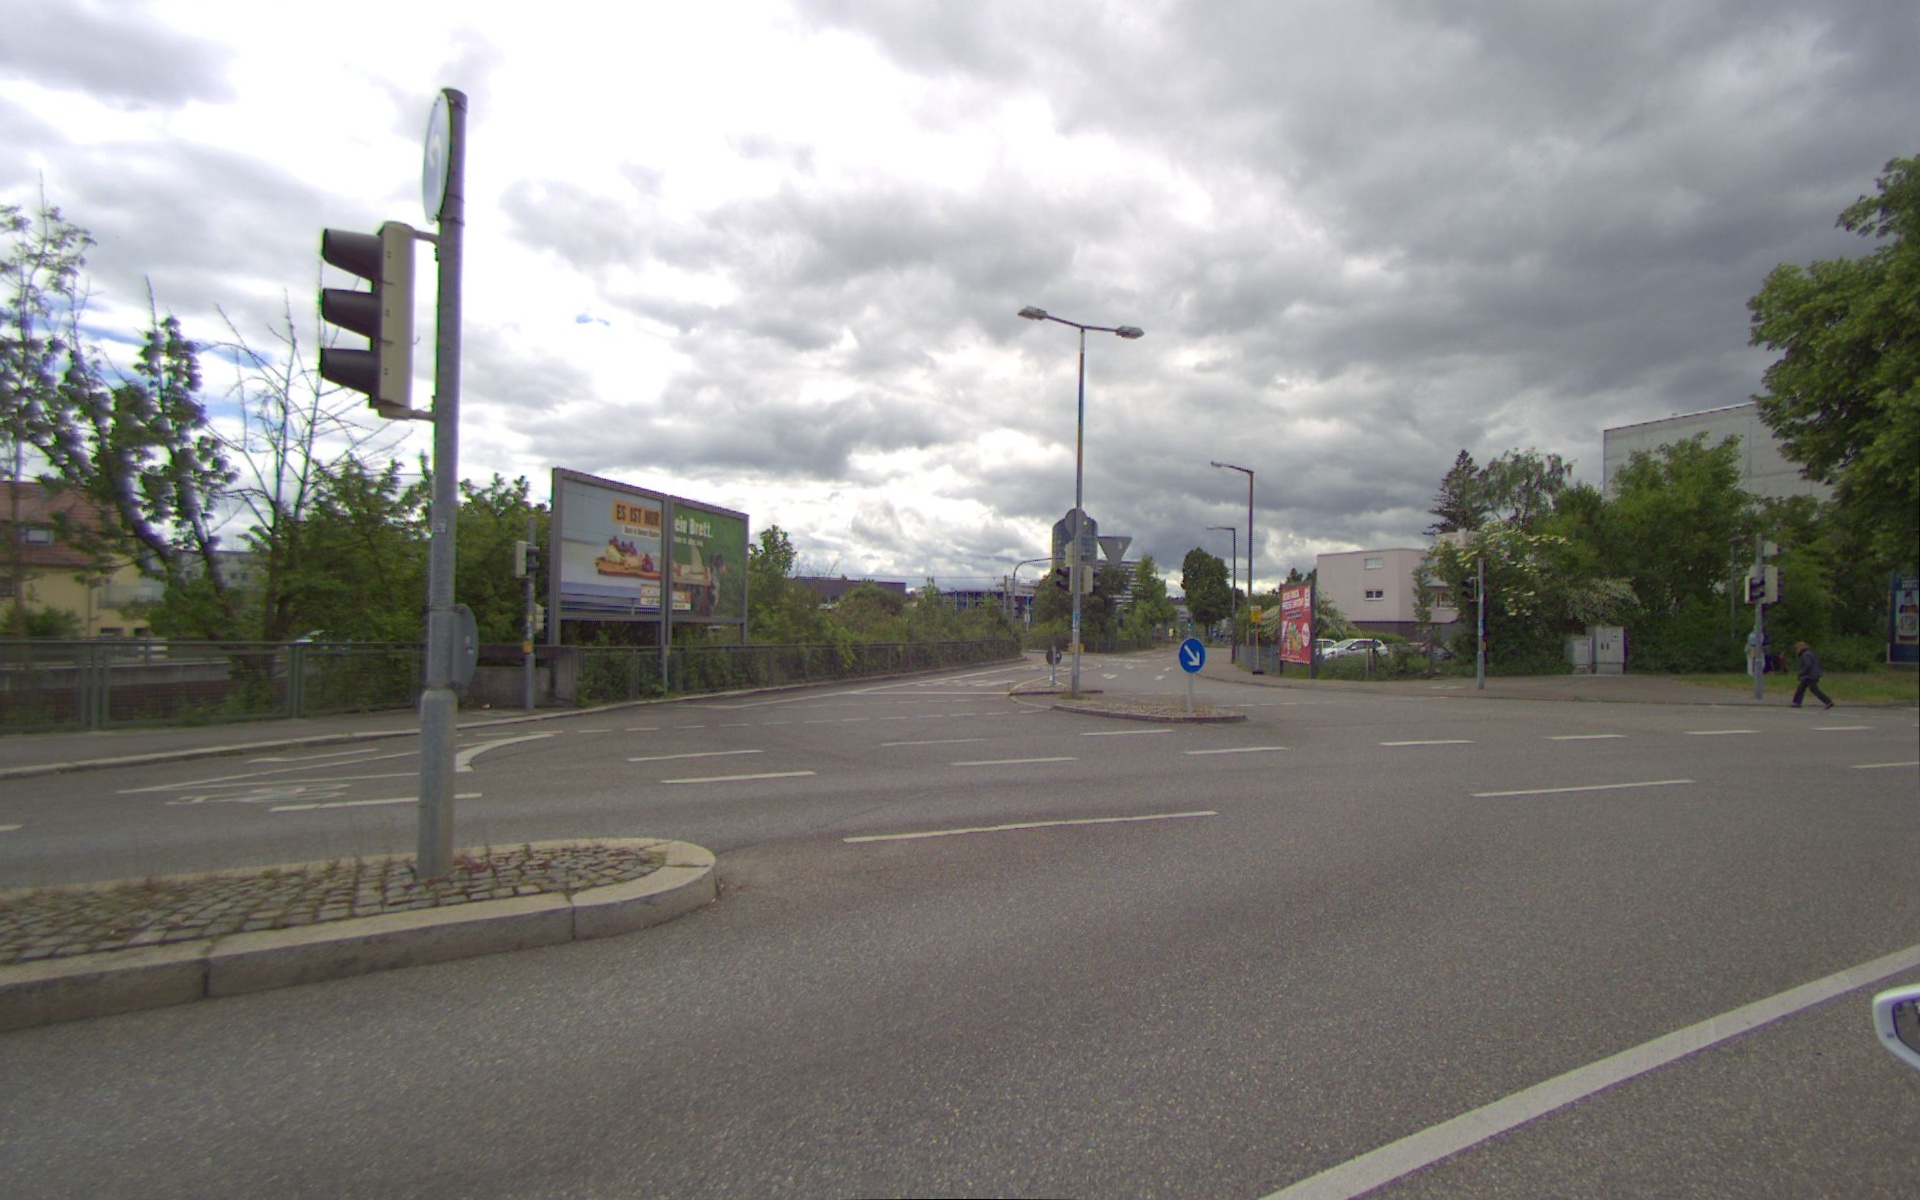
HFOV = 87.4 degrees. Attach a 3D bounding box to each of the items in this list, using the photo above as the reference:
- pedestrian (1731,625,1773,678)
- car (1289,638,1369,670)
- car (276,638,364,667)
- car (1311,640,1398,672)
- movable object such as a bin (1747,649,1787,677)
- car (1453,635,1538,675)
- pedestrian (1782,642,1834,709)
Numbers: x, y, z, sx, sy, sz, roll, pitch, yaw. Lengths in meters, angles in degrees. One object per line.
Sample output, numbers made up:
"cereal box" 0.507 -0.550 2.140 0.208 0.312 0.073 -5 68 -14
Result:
"pedestrian" 23.608 1.519 29.934 0.912 1.542 0.653 1 -2 -28
"car" 20.897 3.059 56.930 3.929 1.741 1.799 1 -2 -11
"car" -38.143 3.109 59.998 1.861 1.628 4.380 0 -2 11
"car" 20.537 2.911 52.349 3.929 1.574 1.799 1 -2 -11
"movable object such as a bin" 24.370 1.898 30.349 0.886 0.808 0.653 1 -2 -28
"car" 30.051 3.090 56.400 3.935 2.040 1.993 1 1 -17
"pedestrian" 18.612 1.651 22.054 0.595 1.426 0.767 1 -2 -38
